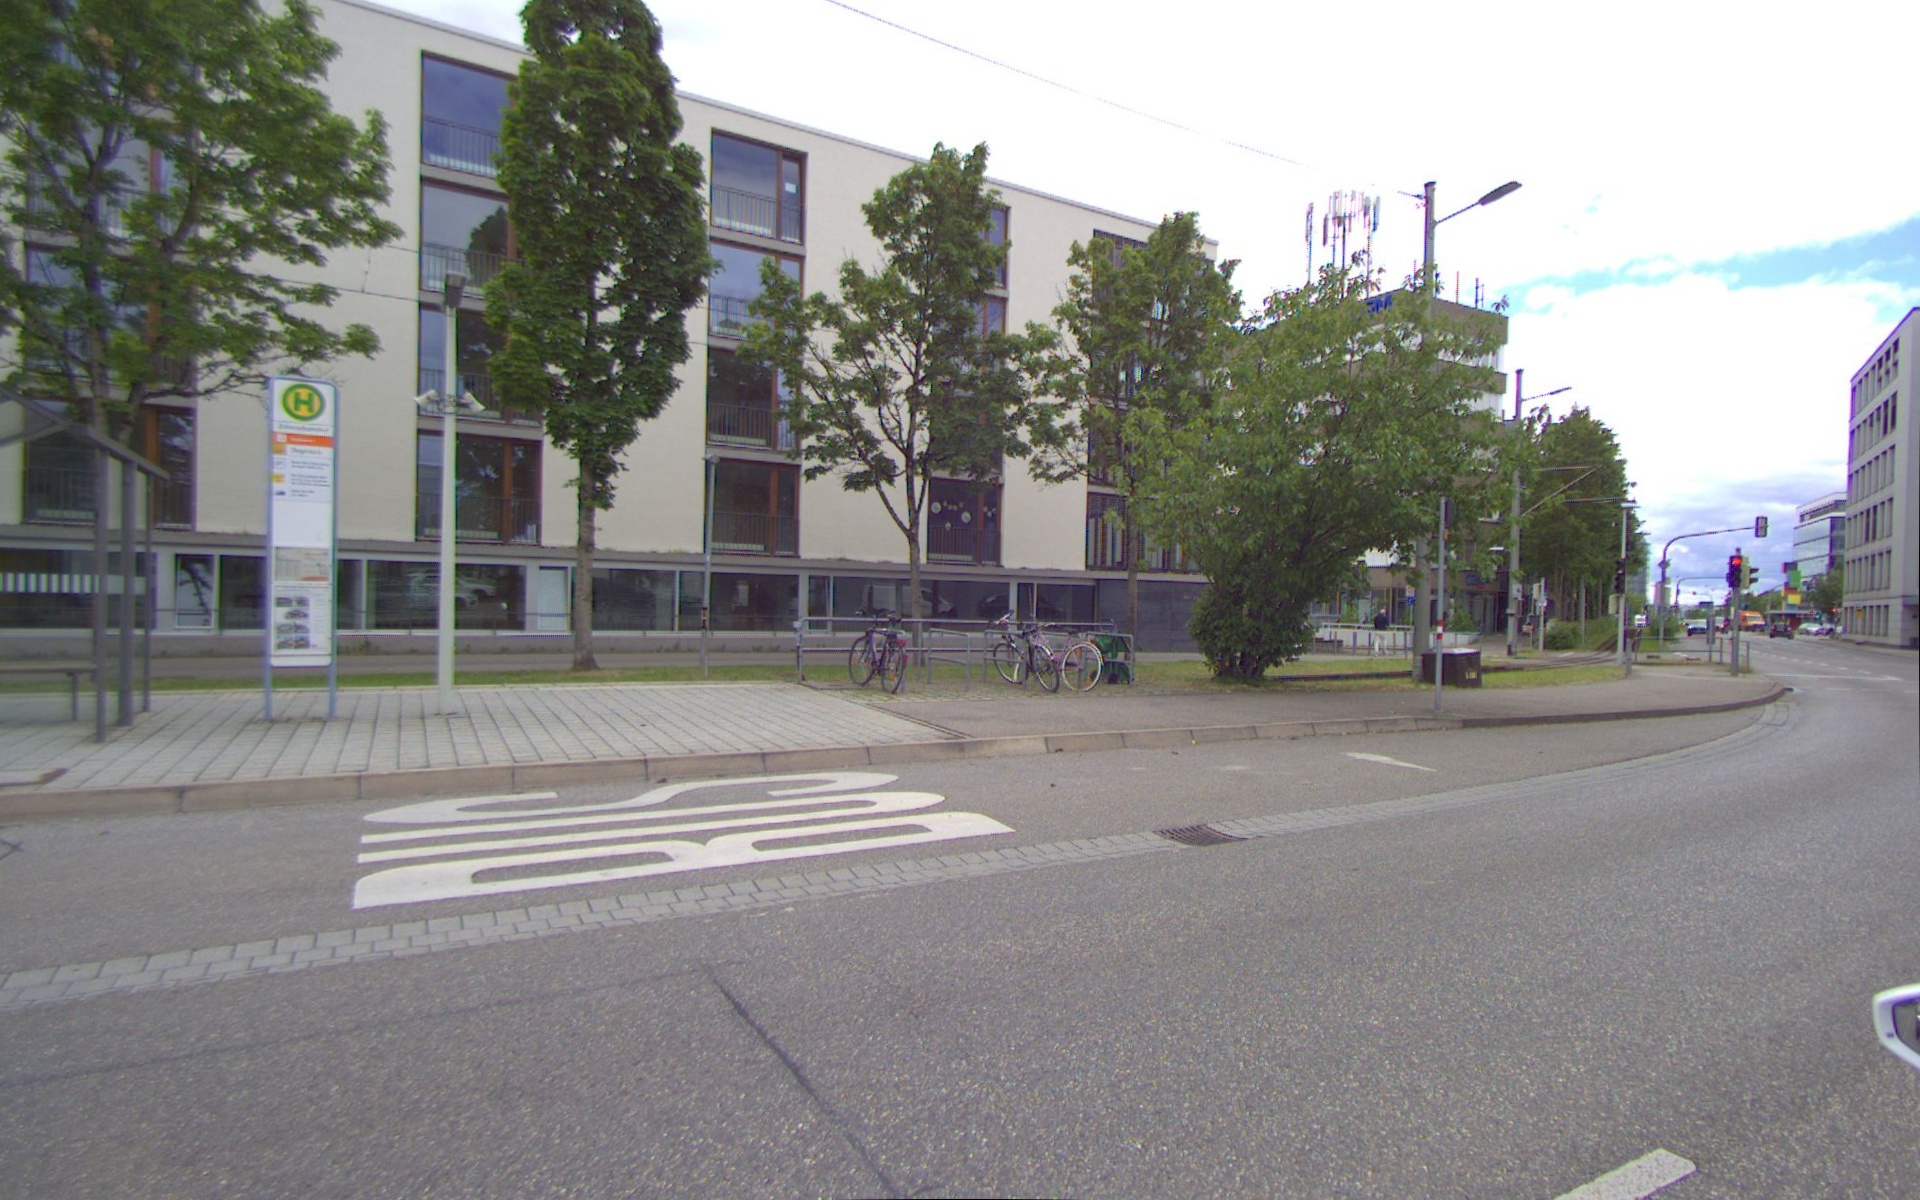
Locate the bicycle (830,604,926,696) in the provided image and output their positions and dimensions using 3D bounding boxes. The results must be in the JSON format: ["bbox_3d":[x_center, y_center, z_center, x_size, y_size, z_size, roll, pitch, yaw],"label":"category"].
[{"bbox_3d":[-1.171,0.655,13.960,0.580,1.121,1.920,1,1,-29],"label":"bicycle"}]

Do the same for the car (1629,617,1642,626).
[{"bbox_3d":[139.317,4.465,207.162,1.886,1.748,4.163,3,2,28],"label":"car"}]

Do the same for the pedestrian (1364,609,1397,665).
[{"bbox_3d":[15.896,1.391,37.964,0.758,2.041,0.885,5,3,41],"label":"pedestrian"}]

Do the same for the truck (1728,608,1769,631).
[{"bbox_3d":[104.881,2.596,133.743,2.532,2.863,6.985,1,0,24],"label":"truck"}]

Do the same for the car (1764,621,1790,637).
[{"bbox_3d":[81.507,2.840,100.208,1.878,1.506,3.979,1,0,42],"label":"car"}]

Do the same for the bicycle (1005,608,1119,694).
[{"bbox_3d":[1.492,0.728,15.165,0.624,1.121,2.090,1,1,-28],"label":"bicycle"}]

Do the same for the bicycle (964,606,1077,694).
[{"bbox_3d":[0.855,0.698,14.840,0.624,1.121,2.089,1,1,-29],"label":"bicycle"}]

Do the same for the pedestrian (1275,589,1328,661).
[{"bbox_3d":[10.140,0.745,29.820,0.903,2.041,1.048,2,3,-29],"label":"pedestrian"}]

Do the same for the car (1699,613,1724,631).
[{"bbox_3d":[81.331,2.383,108.674,1.830,1.948,3.980,1,0,40],"label":"car"}]

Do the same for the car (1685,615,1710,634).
[{"bbox_3d":[70.651,2.336,96.200,1.828,1.718,3.984,1,0,38],"label":"car"}]
